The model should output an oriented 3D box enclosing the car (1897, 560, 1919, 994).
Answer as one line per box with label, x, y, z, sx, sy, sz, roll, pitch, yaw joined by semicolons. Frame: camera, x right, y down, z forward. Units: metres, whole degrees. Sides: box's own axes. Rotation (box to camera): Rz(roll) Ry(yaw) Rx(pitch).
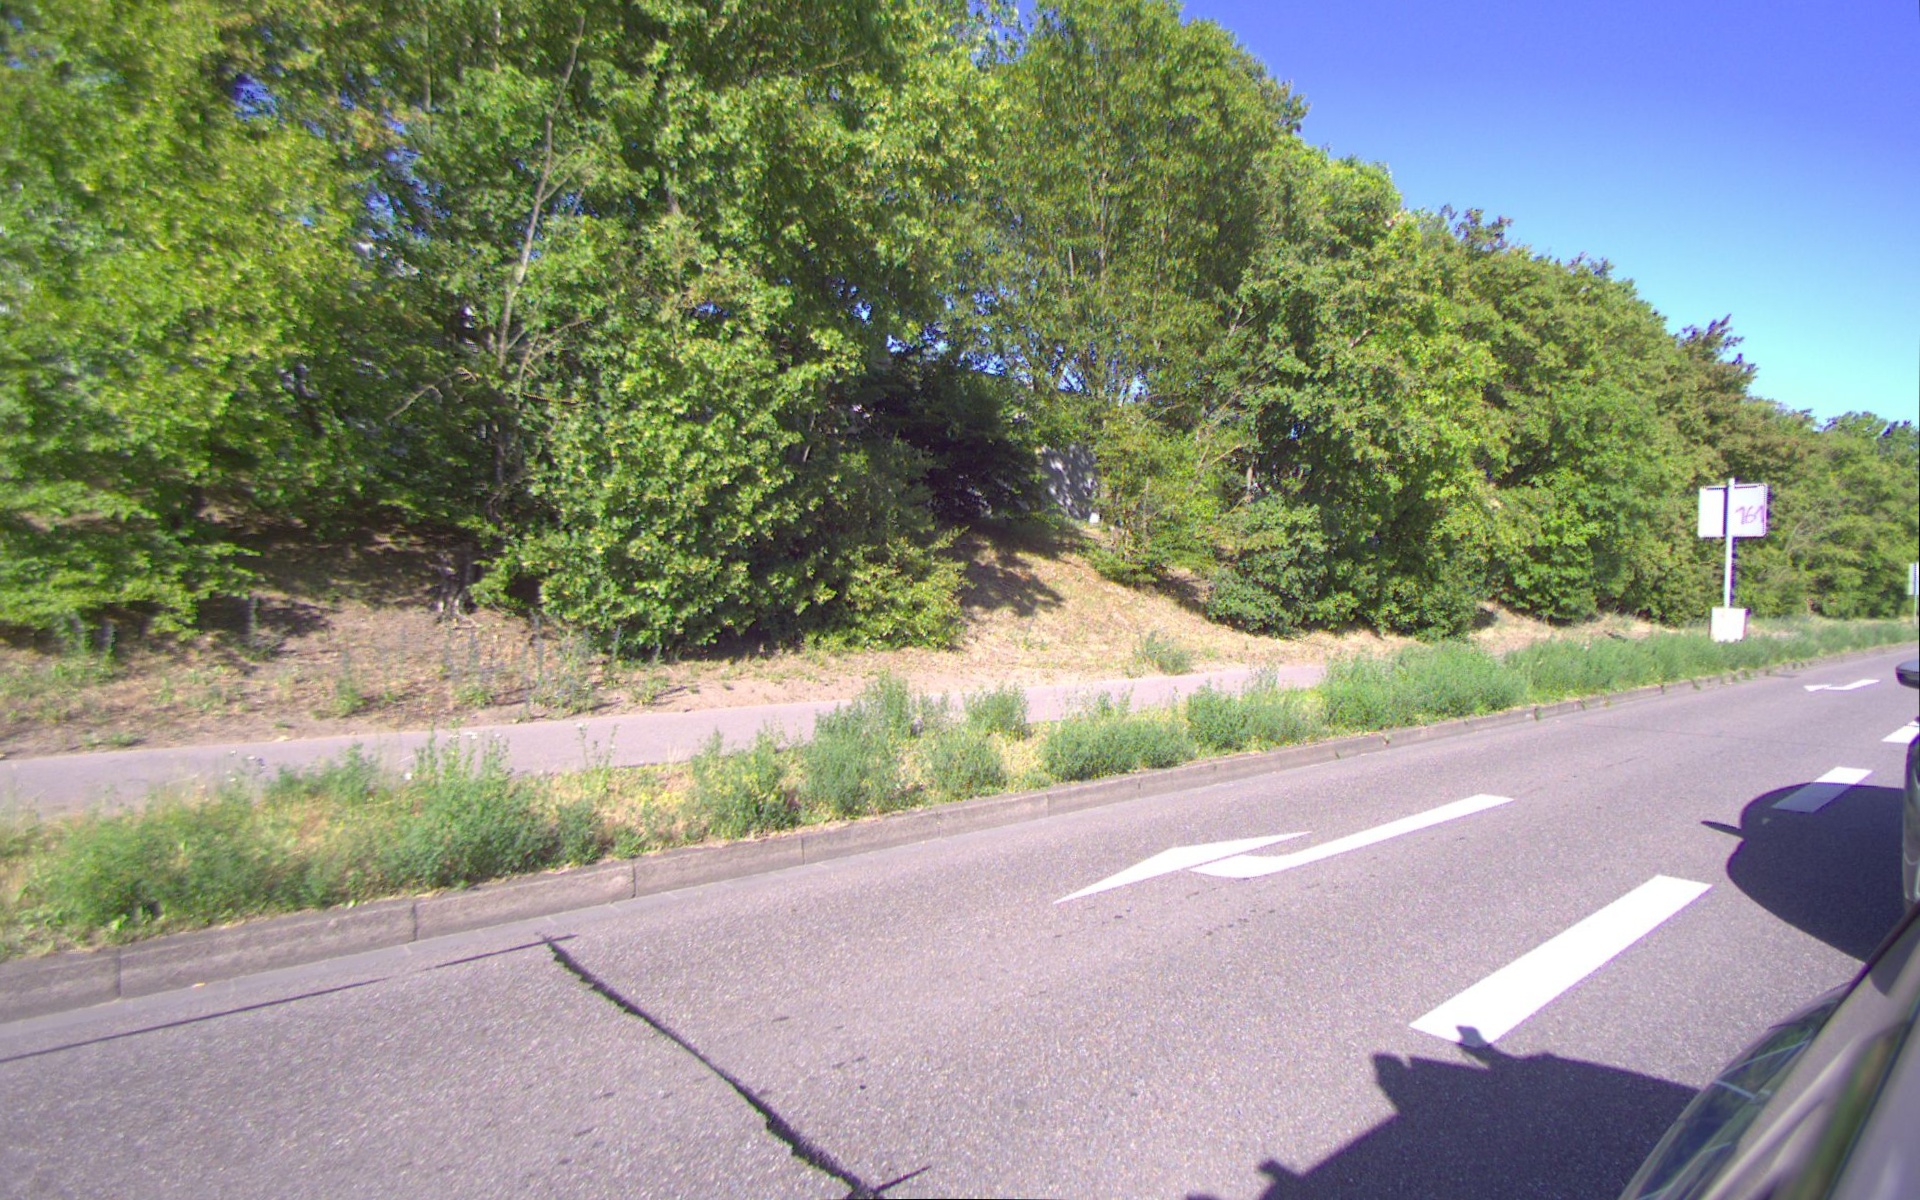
car;5.730;0.657;4.536;4.327;1.603;1.860;0;0;-42
